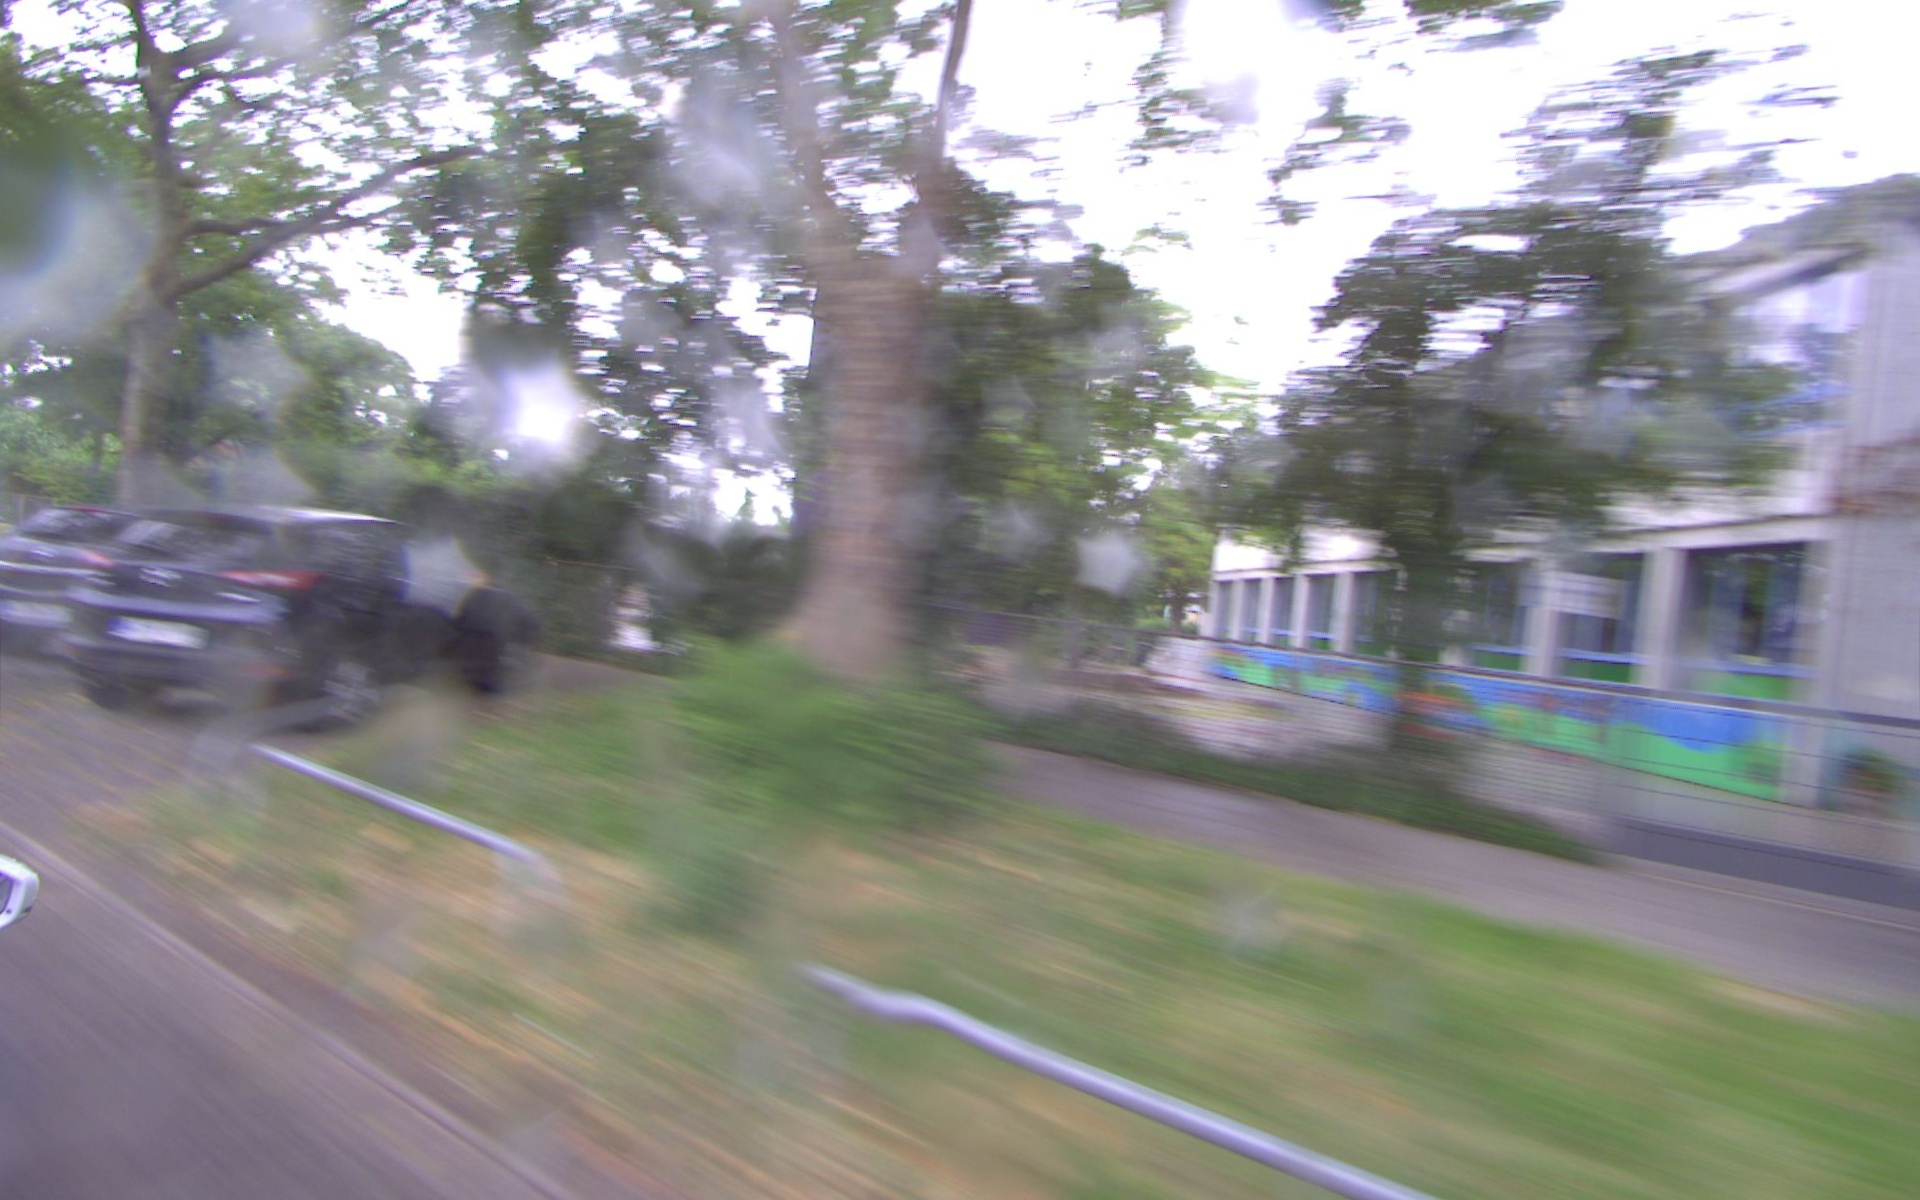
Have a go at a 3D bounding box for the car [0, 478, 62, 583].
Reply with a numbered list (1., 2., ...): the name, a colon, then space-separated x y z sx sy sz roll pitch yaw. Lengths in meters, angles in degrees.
1. car: -14.432 -1.058 13.746 1.573 1.485 2.904 6 1 4

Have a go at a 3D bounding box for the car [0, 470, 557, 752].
1. car: -5.077 0.044 8.188 1.848 1.552 3.802 7 1 2

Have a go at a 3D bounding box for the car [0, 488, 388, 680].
1. car: -7.656 -0.205 10.021 1.711 1.437 4.058 5 1 -4
